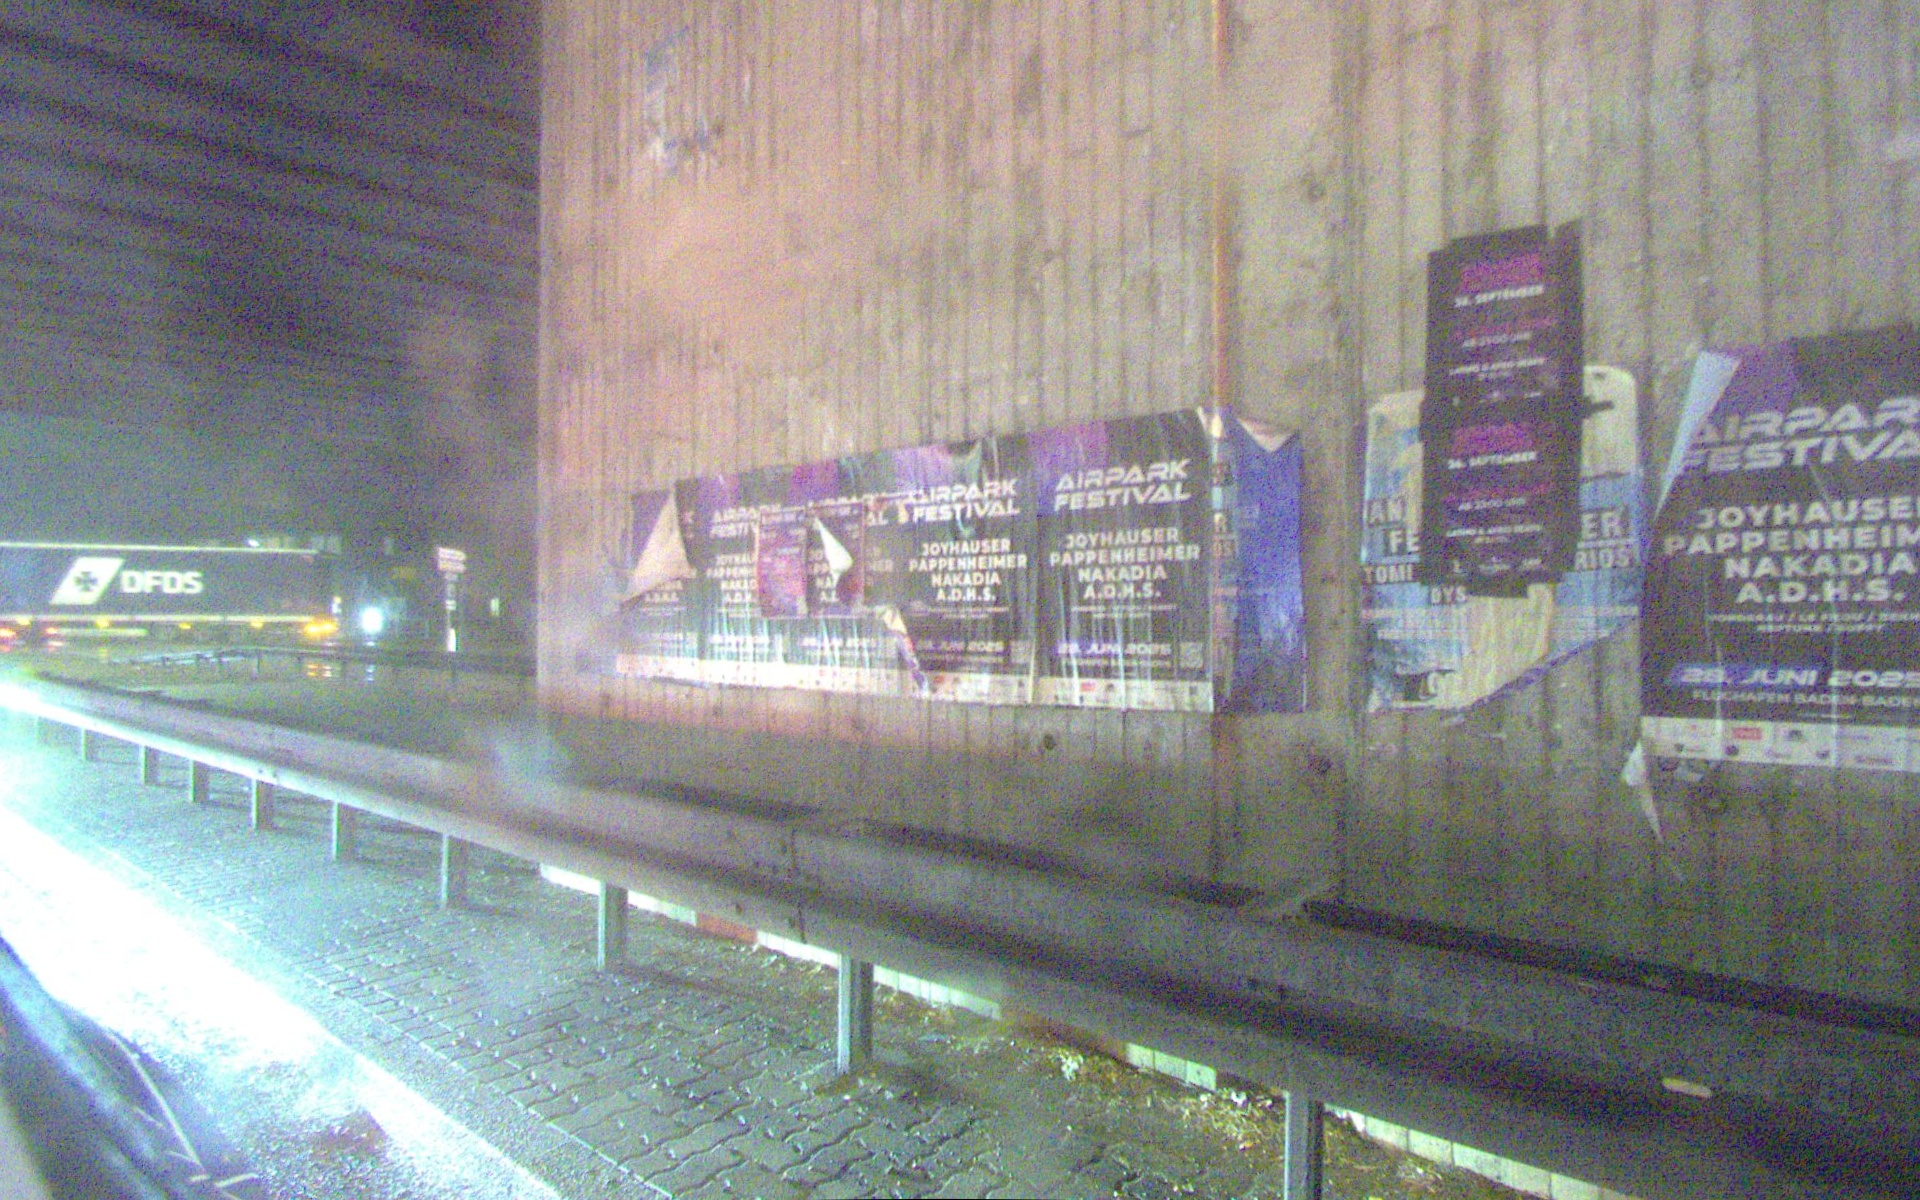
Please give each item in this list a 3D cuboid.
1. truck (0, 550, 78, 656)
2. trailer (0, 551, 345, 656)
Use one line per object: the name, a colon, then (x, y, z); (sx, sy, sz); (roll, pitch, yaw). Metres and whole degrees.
truck: (-41.147, 0.173, 41.666); (6.288, 4.208, 3.969); (-1, 0, 0)
trailer: (-34.887, 0.085, 43.654); (13.681, 4.208, 3.982); (-1, 0, -18)
